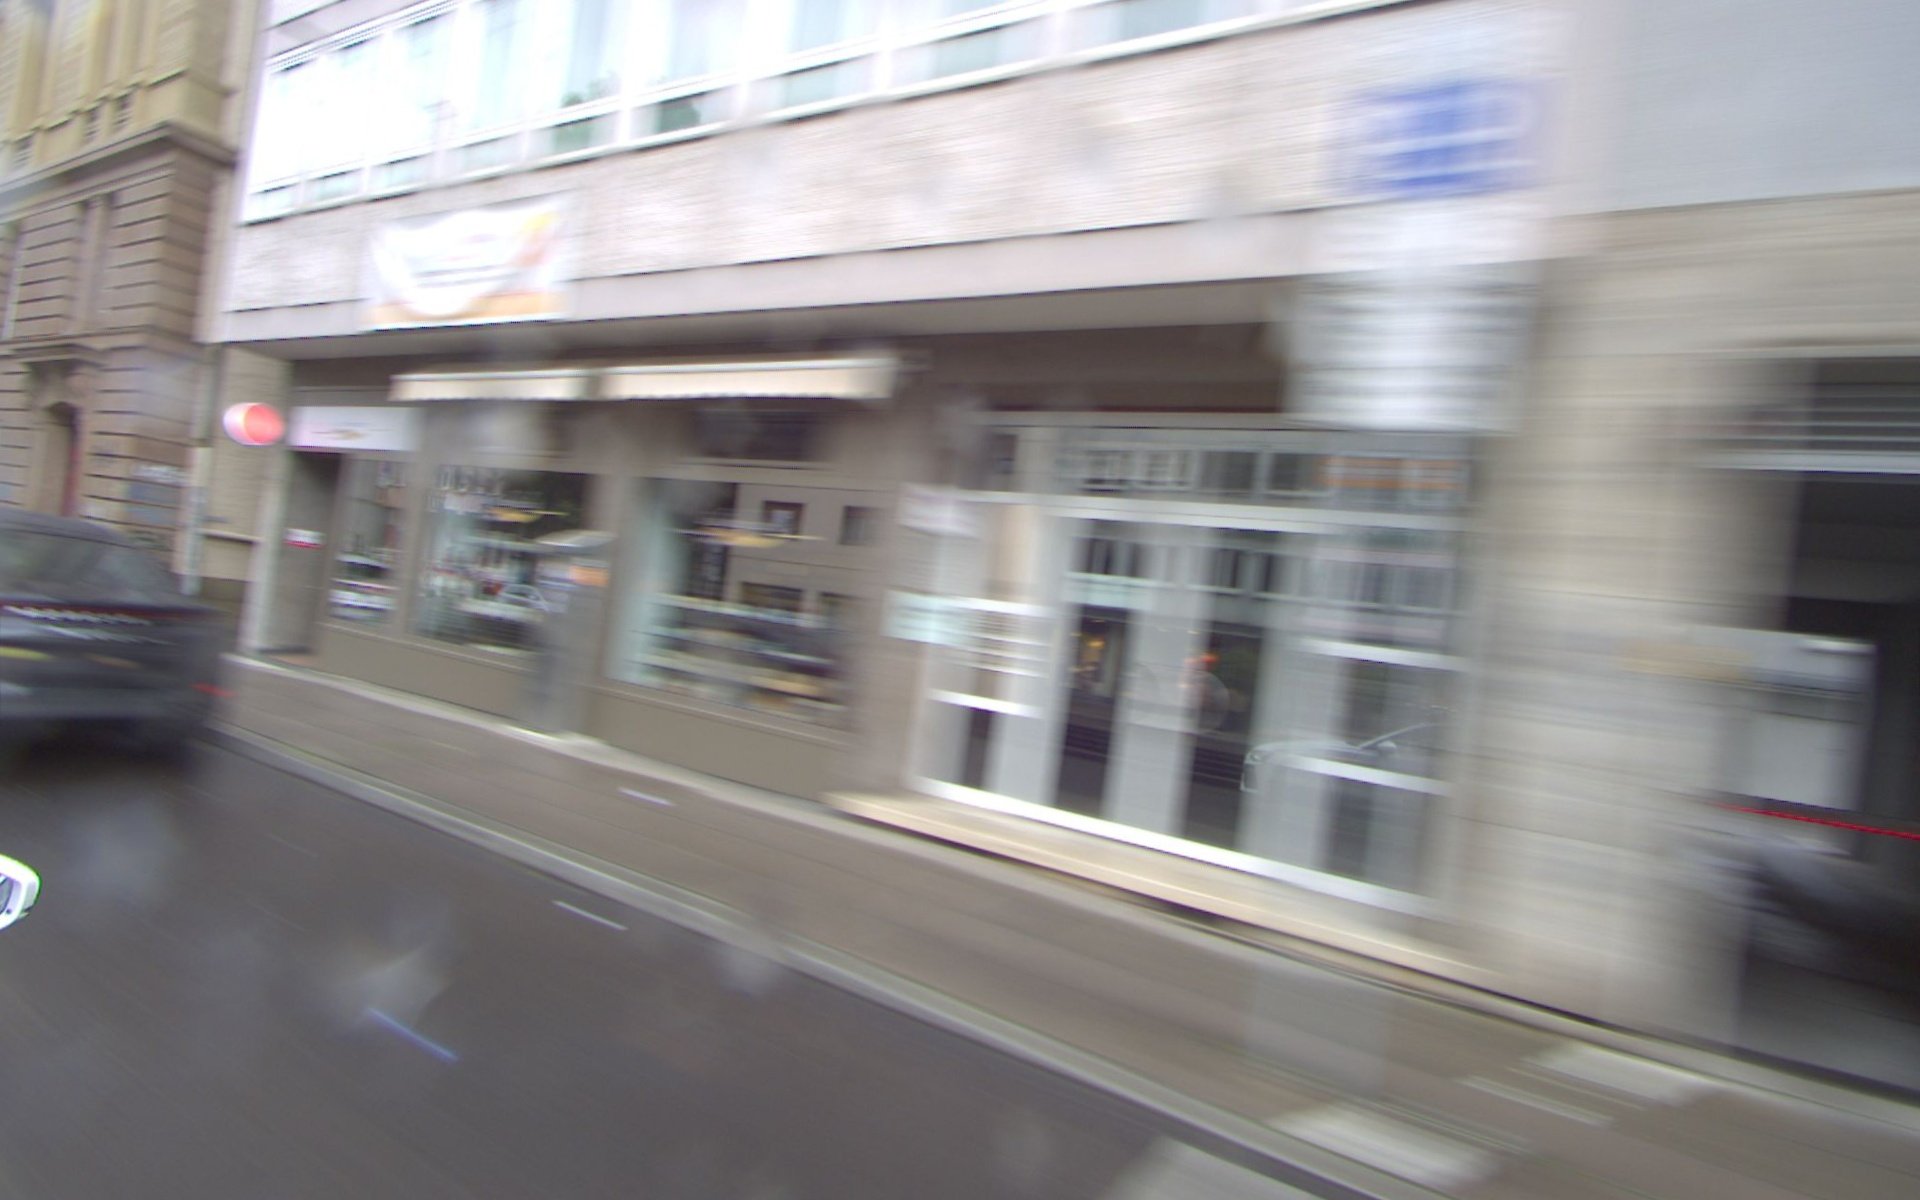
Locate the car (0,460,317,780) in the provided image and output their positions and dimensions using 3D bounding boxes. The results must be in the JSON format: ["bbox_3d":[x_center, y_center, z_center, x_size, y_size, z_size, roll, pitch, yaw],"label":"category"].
[{"bbox_3d":[-6.511,-0.030,6.629,4.497,1.612,1.997,6,-2,32],"label":"car"}]

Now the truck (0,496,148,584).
[{"bbox_3d":[-24.238,-1.689,25.570,2.048,1.839,5.071,7,-2,29],"label":"truck"}]
